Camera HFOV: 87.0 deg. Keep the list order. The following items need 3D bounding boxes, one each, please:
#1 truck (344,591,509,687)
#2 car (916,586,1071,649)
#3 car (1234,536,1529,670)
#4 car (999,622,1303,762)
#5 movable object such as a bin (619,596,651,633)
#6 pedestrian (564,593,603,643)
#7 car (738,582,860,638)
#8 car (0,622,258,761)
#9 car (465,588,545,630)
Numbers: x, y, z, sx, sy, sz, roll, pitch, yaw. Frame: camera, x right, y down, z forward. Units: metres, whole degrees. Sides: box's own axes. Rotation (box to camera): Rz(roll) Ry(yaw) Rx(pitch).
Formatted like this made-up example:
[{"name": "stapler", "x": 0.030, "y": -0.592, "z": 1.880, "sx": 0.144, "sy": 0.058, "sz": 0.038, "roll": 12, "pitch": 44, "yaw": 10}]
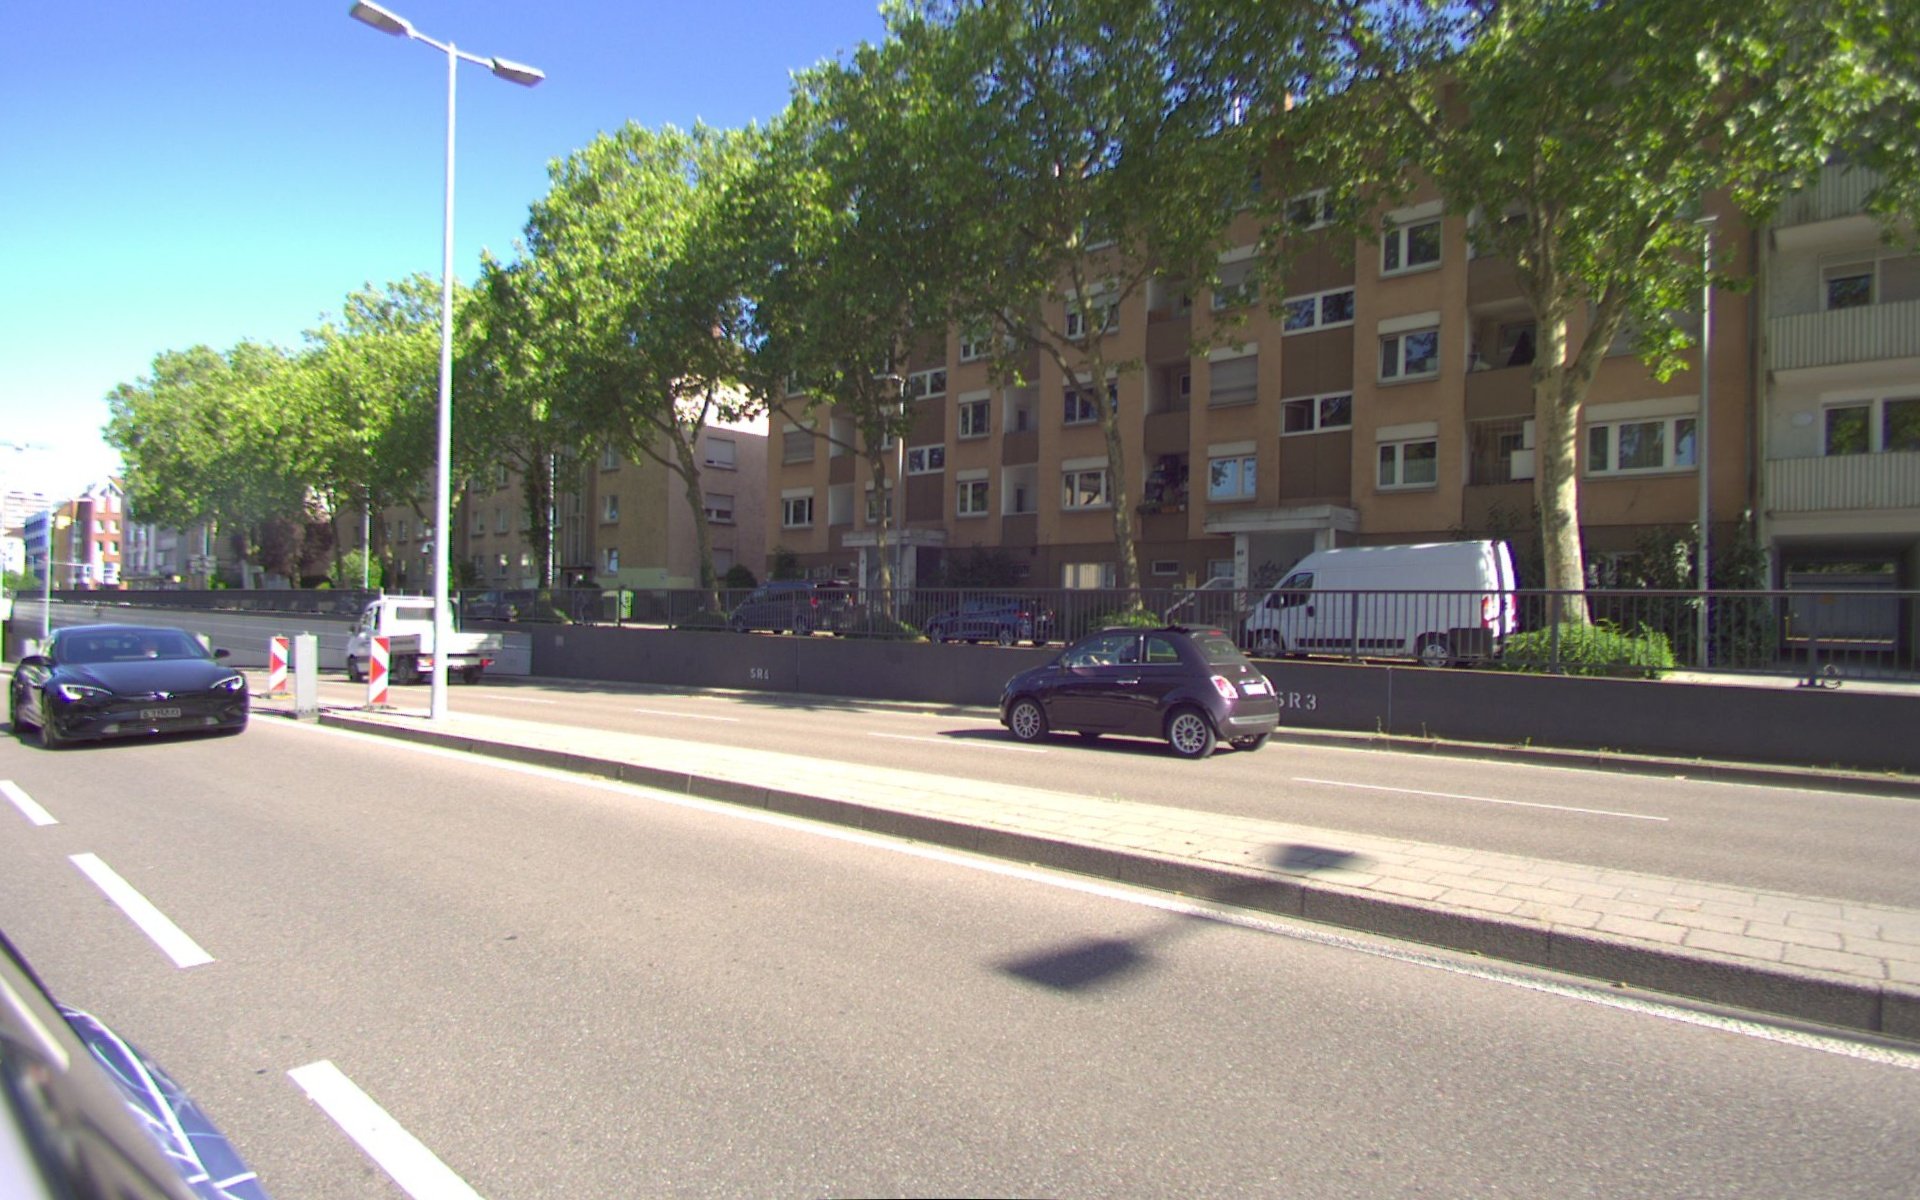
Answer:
[{"name": "truck", "x": -14.902, "y": 1.098, "z": 28.121, "sx": 5.366, "sy": 2.413, "sz": 2.255, "roll": -2, "pitch": -4, "yaw": 42}, {"name": "car", "x": 0.886, "y": 0.535, "z": 28.264, "sx": 3.999, "sy": 1.592, "sz": 1.972, "roll": -2, "pitch": -4, "yaw": 42}, {"name": "car", "x": 8.681, "y": 0.156, "z": 21.220, "sx": 5.286, "sy": 2.465, "sz": 2.220, "roll": -2, "pitch": -4, "yaw": 43}, {"name": "car", "x": 2.287, "y": 1.058, "z": 12.434, "sx": 3.296, "sy": 1.485, "sz": 1.641, "roll": -2, "pitch": -5, "yaw": 41}, {"name": "movable object such as a bin", "x": -15.135, "y": 0.677, "z": 47.155, "sx": 1.253, "sy": 1.654, "sz": 0.873, "roll": -2, "pitch": -4, "yaw": 41}, {"name": "pedestrian", "x": -14.027, "y": 0.676, "z": 37.684, "sx": 1.018, "sy": 1.814, "sz": 0.890, "roll": -1, "pitch": -4, "yaw": 37}, {"name": "car", "x": -5.416, "y": 0.369, "z": 33.798, "sx": 3.999, "sy": 1.766, "sz": 1.972, "roll": -2, "pitch": -2, "yaw": 42}, {"name": "car", "x": -11.011, "y": 1.057, "z": 13.255, "sx": 4.623, "sy": 1.422, "sz": 1.905, "roll": -2, "pitch": 1, "yaw": 41}, {"name": "car", "x": -21.851, "y": 0.463, "z": 48.524, "sx": 3.998, "sy": 1.864, "sz": 1.973, "roll": -2, "pitch": -4, "yaw": 41}]
